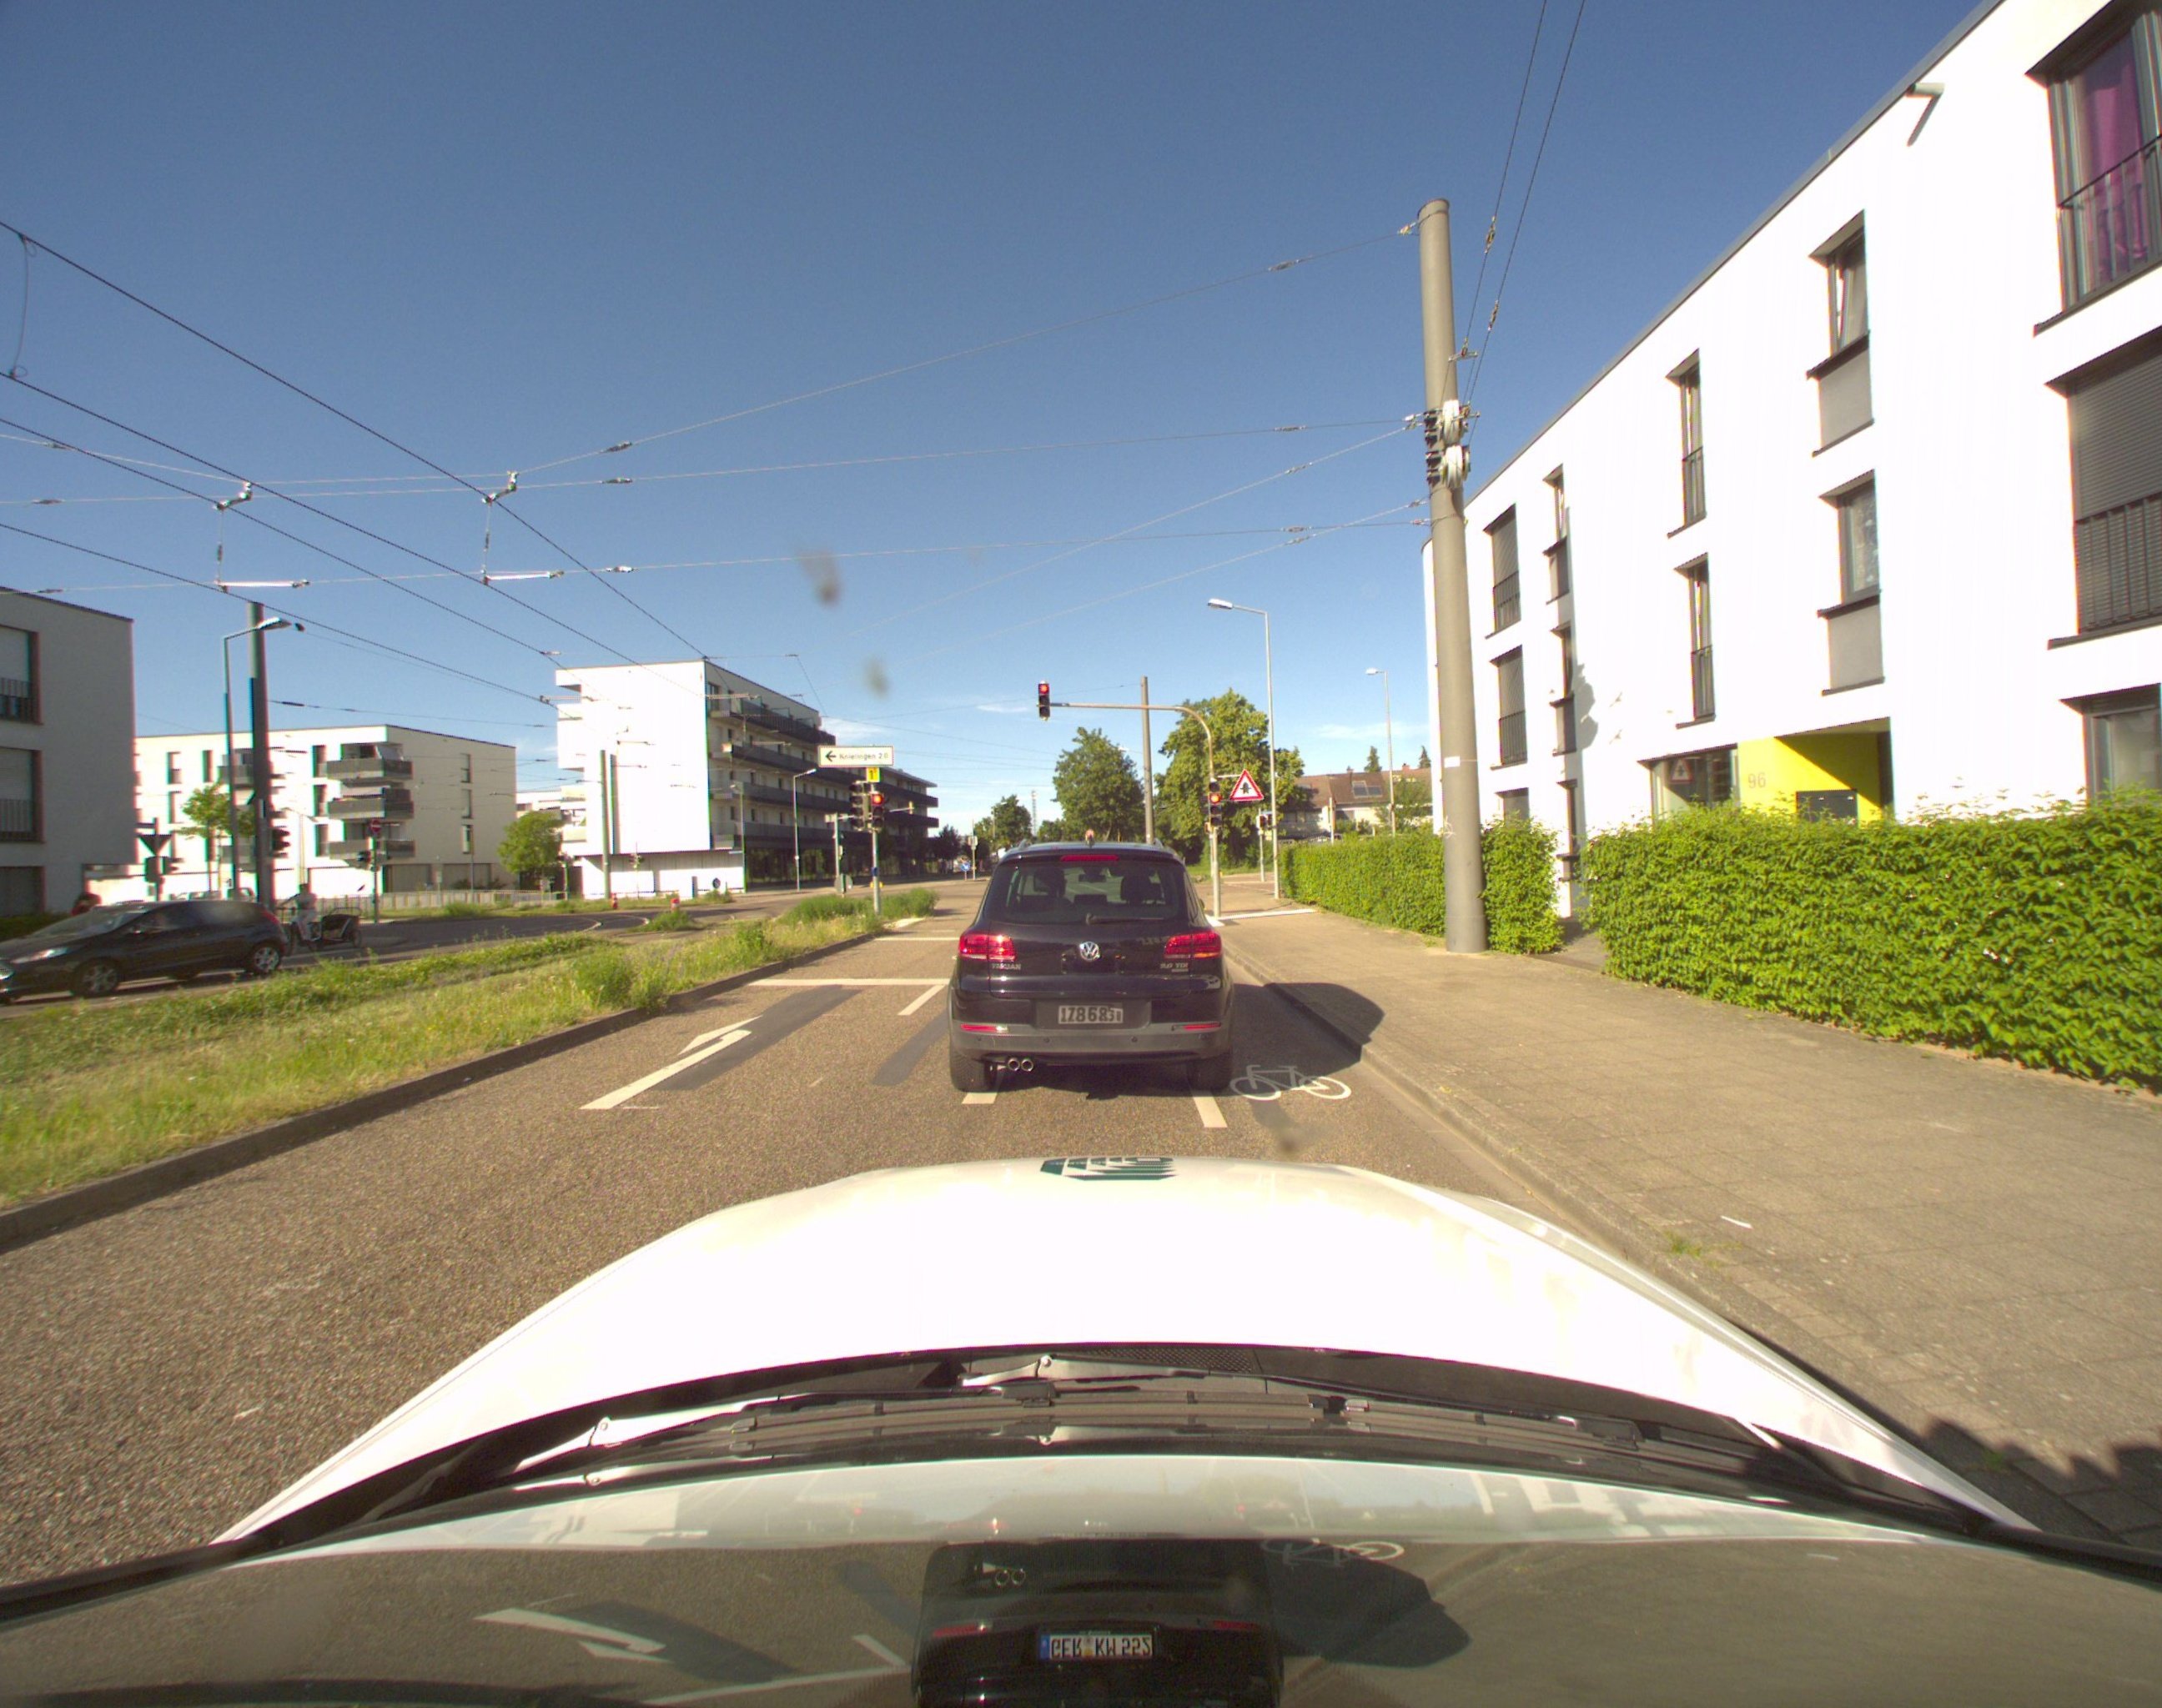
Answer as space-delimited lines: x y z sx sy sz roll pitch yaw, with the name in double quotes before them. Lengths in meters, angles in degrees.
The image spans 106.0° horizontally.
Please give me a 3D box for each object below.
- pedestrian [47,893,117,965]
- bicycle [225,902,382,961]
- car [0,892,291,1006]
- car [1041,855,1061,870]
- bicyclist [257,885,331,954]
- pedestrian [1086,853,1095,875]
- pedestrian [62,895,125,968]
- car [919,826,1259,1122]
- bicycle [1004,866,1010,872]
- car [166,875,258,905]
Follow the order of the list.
"pedestrian" -21.184 1.576 17.284 0.555 1.464 0.743 -1 0 3
"bicycle" -19.886 1.927 21.017 0.996 1.174 3.682 1 0 -10
"car" -16.030 1.518 13.698 1.697 1.430 3.741 -4 0 1
"car" -2.909 0.830 78.747 1.745 1.387 4.000 -1 0 0
"bicyclist" -19.848 1.628 20.564 0.973 1.630 0.909 -1 0 -10
"pedestrian" 0.676 0.732 59.875 0.600 1.640 0.530 -1 0 6
"pedestrian" -20.633 1.609 17.020 0.555 1.464 0.611 -1 0 -1
"car" 0.065 0.679 6.610 1.899 1.643 4.000 -1 0 0
"bicycle" -10.665 2.145 117.870 0.493 0.848 2.082 -1 0 6
"car" -58.717 2.429 55.075 3.974 1.838 2.000 -1 0 0
